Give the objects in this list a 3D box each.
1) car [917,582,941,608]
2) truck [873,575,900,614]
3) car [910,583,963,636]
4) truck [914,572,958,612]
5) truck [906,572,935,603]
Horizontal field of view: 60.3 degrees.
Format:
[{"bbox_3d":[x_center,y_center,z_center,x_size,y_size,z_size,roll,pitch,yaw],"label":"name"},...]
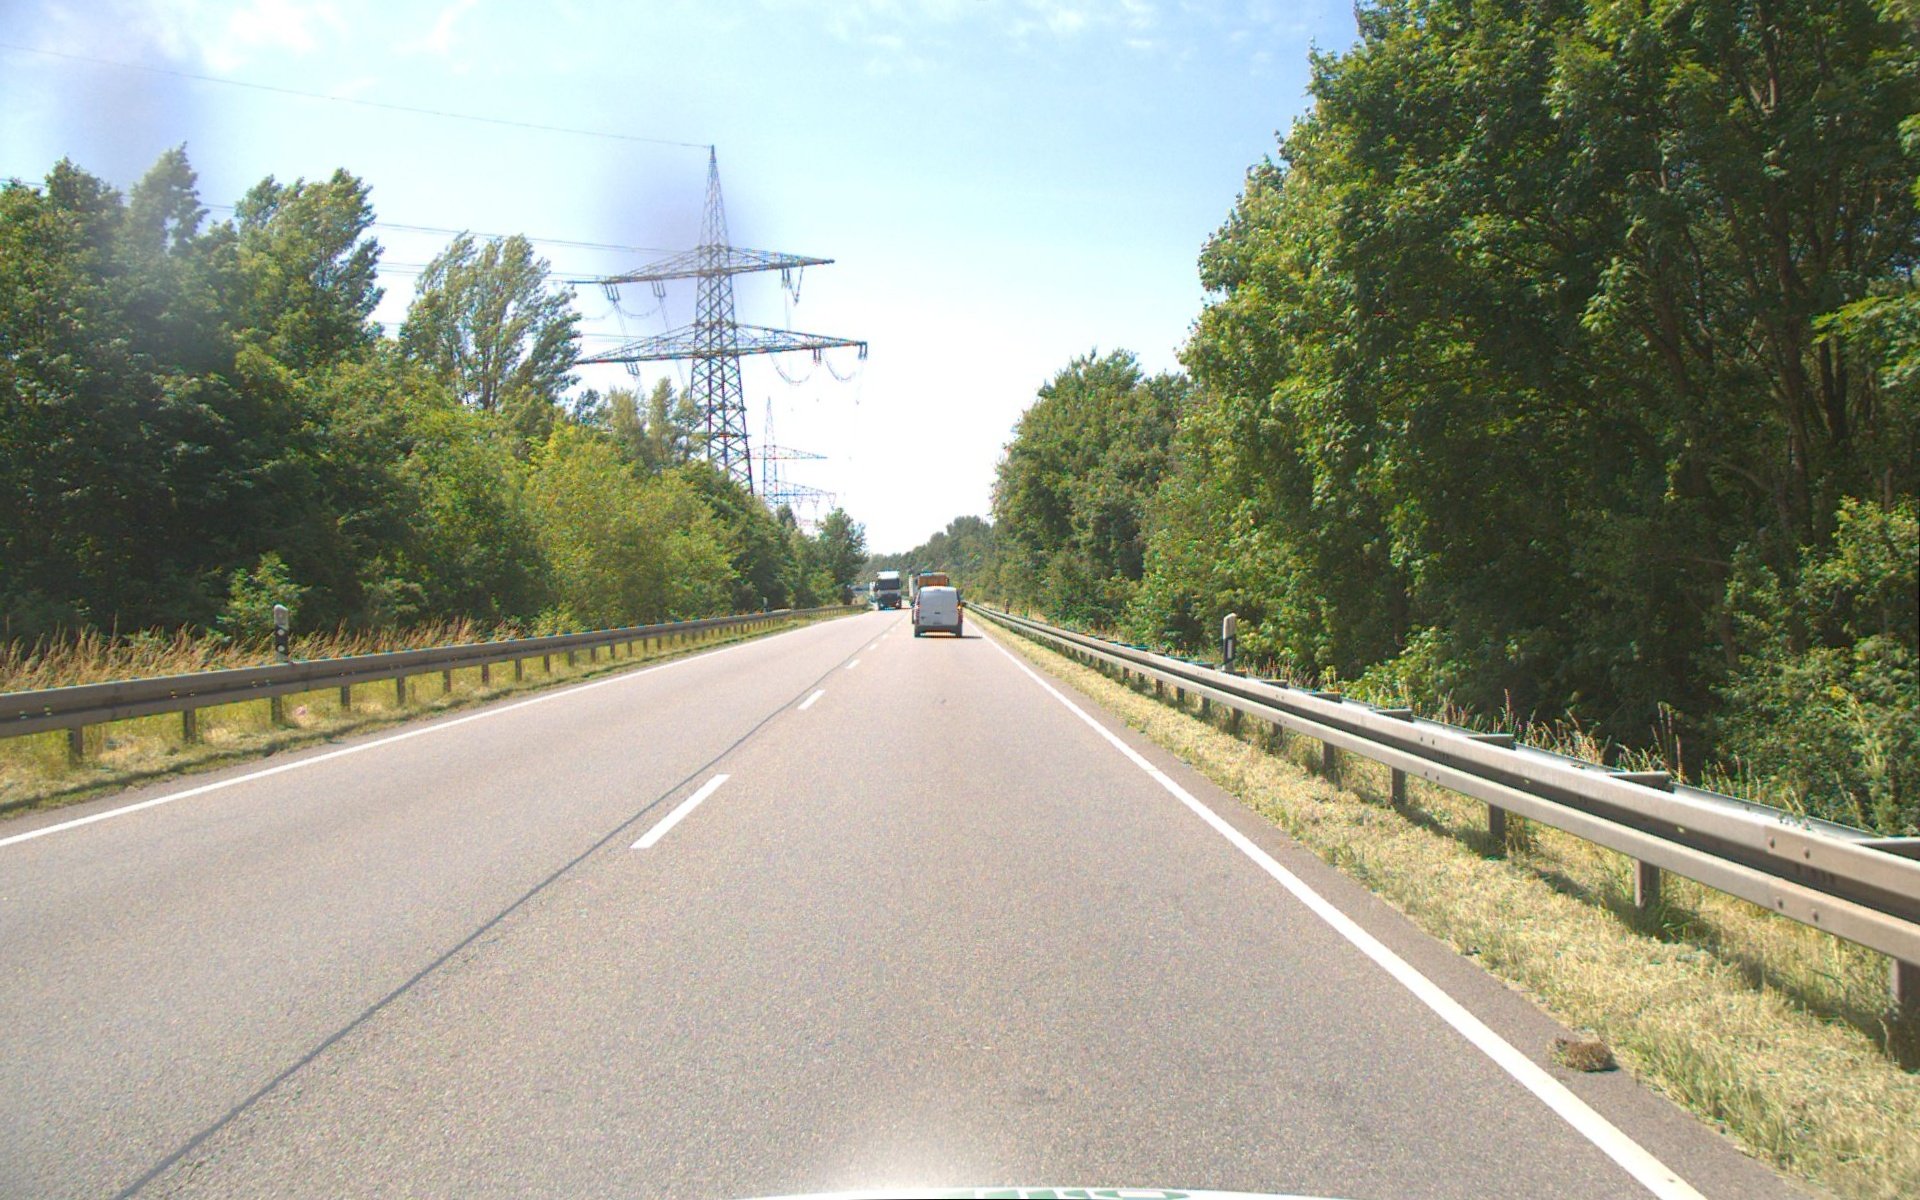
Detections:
[{"bbox_3d":[-2.515,-0.419,133.886,1.728,2.049,3.997,0,0,-3],"label":"car"},{"bbox_3d":[-7.832,-0.620,177.494,2.707,4.069,5.905,1,0,-1],"label":"truck"},{"bbox_3d":[-0.869,0.307,59.830,1.837,1.772,3.999,1,1,-1],"label":"car"},{"bbox_3d":[-2.236,-0.793,145.494,3.231,3.227,14.396,1,1,-3],"label":"truck"},{"bbox_3d":[-5.383,-1.786,220.892,3.335,3.922,16.808,1,1,-3],"label":"truck"}]
